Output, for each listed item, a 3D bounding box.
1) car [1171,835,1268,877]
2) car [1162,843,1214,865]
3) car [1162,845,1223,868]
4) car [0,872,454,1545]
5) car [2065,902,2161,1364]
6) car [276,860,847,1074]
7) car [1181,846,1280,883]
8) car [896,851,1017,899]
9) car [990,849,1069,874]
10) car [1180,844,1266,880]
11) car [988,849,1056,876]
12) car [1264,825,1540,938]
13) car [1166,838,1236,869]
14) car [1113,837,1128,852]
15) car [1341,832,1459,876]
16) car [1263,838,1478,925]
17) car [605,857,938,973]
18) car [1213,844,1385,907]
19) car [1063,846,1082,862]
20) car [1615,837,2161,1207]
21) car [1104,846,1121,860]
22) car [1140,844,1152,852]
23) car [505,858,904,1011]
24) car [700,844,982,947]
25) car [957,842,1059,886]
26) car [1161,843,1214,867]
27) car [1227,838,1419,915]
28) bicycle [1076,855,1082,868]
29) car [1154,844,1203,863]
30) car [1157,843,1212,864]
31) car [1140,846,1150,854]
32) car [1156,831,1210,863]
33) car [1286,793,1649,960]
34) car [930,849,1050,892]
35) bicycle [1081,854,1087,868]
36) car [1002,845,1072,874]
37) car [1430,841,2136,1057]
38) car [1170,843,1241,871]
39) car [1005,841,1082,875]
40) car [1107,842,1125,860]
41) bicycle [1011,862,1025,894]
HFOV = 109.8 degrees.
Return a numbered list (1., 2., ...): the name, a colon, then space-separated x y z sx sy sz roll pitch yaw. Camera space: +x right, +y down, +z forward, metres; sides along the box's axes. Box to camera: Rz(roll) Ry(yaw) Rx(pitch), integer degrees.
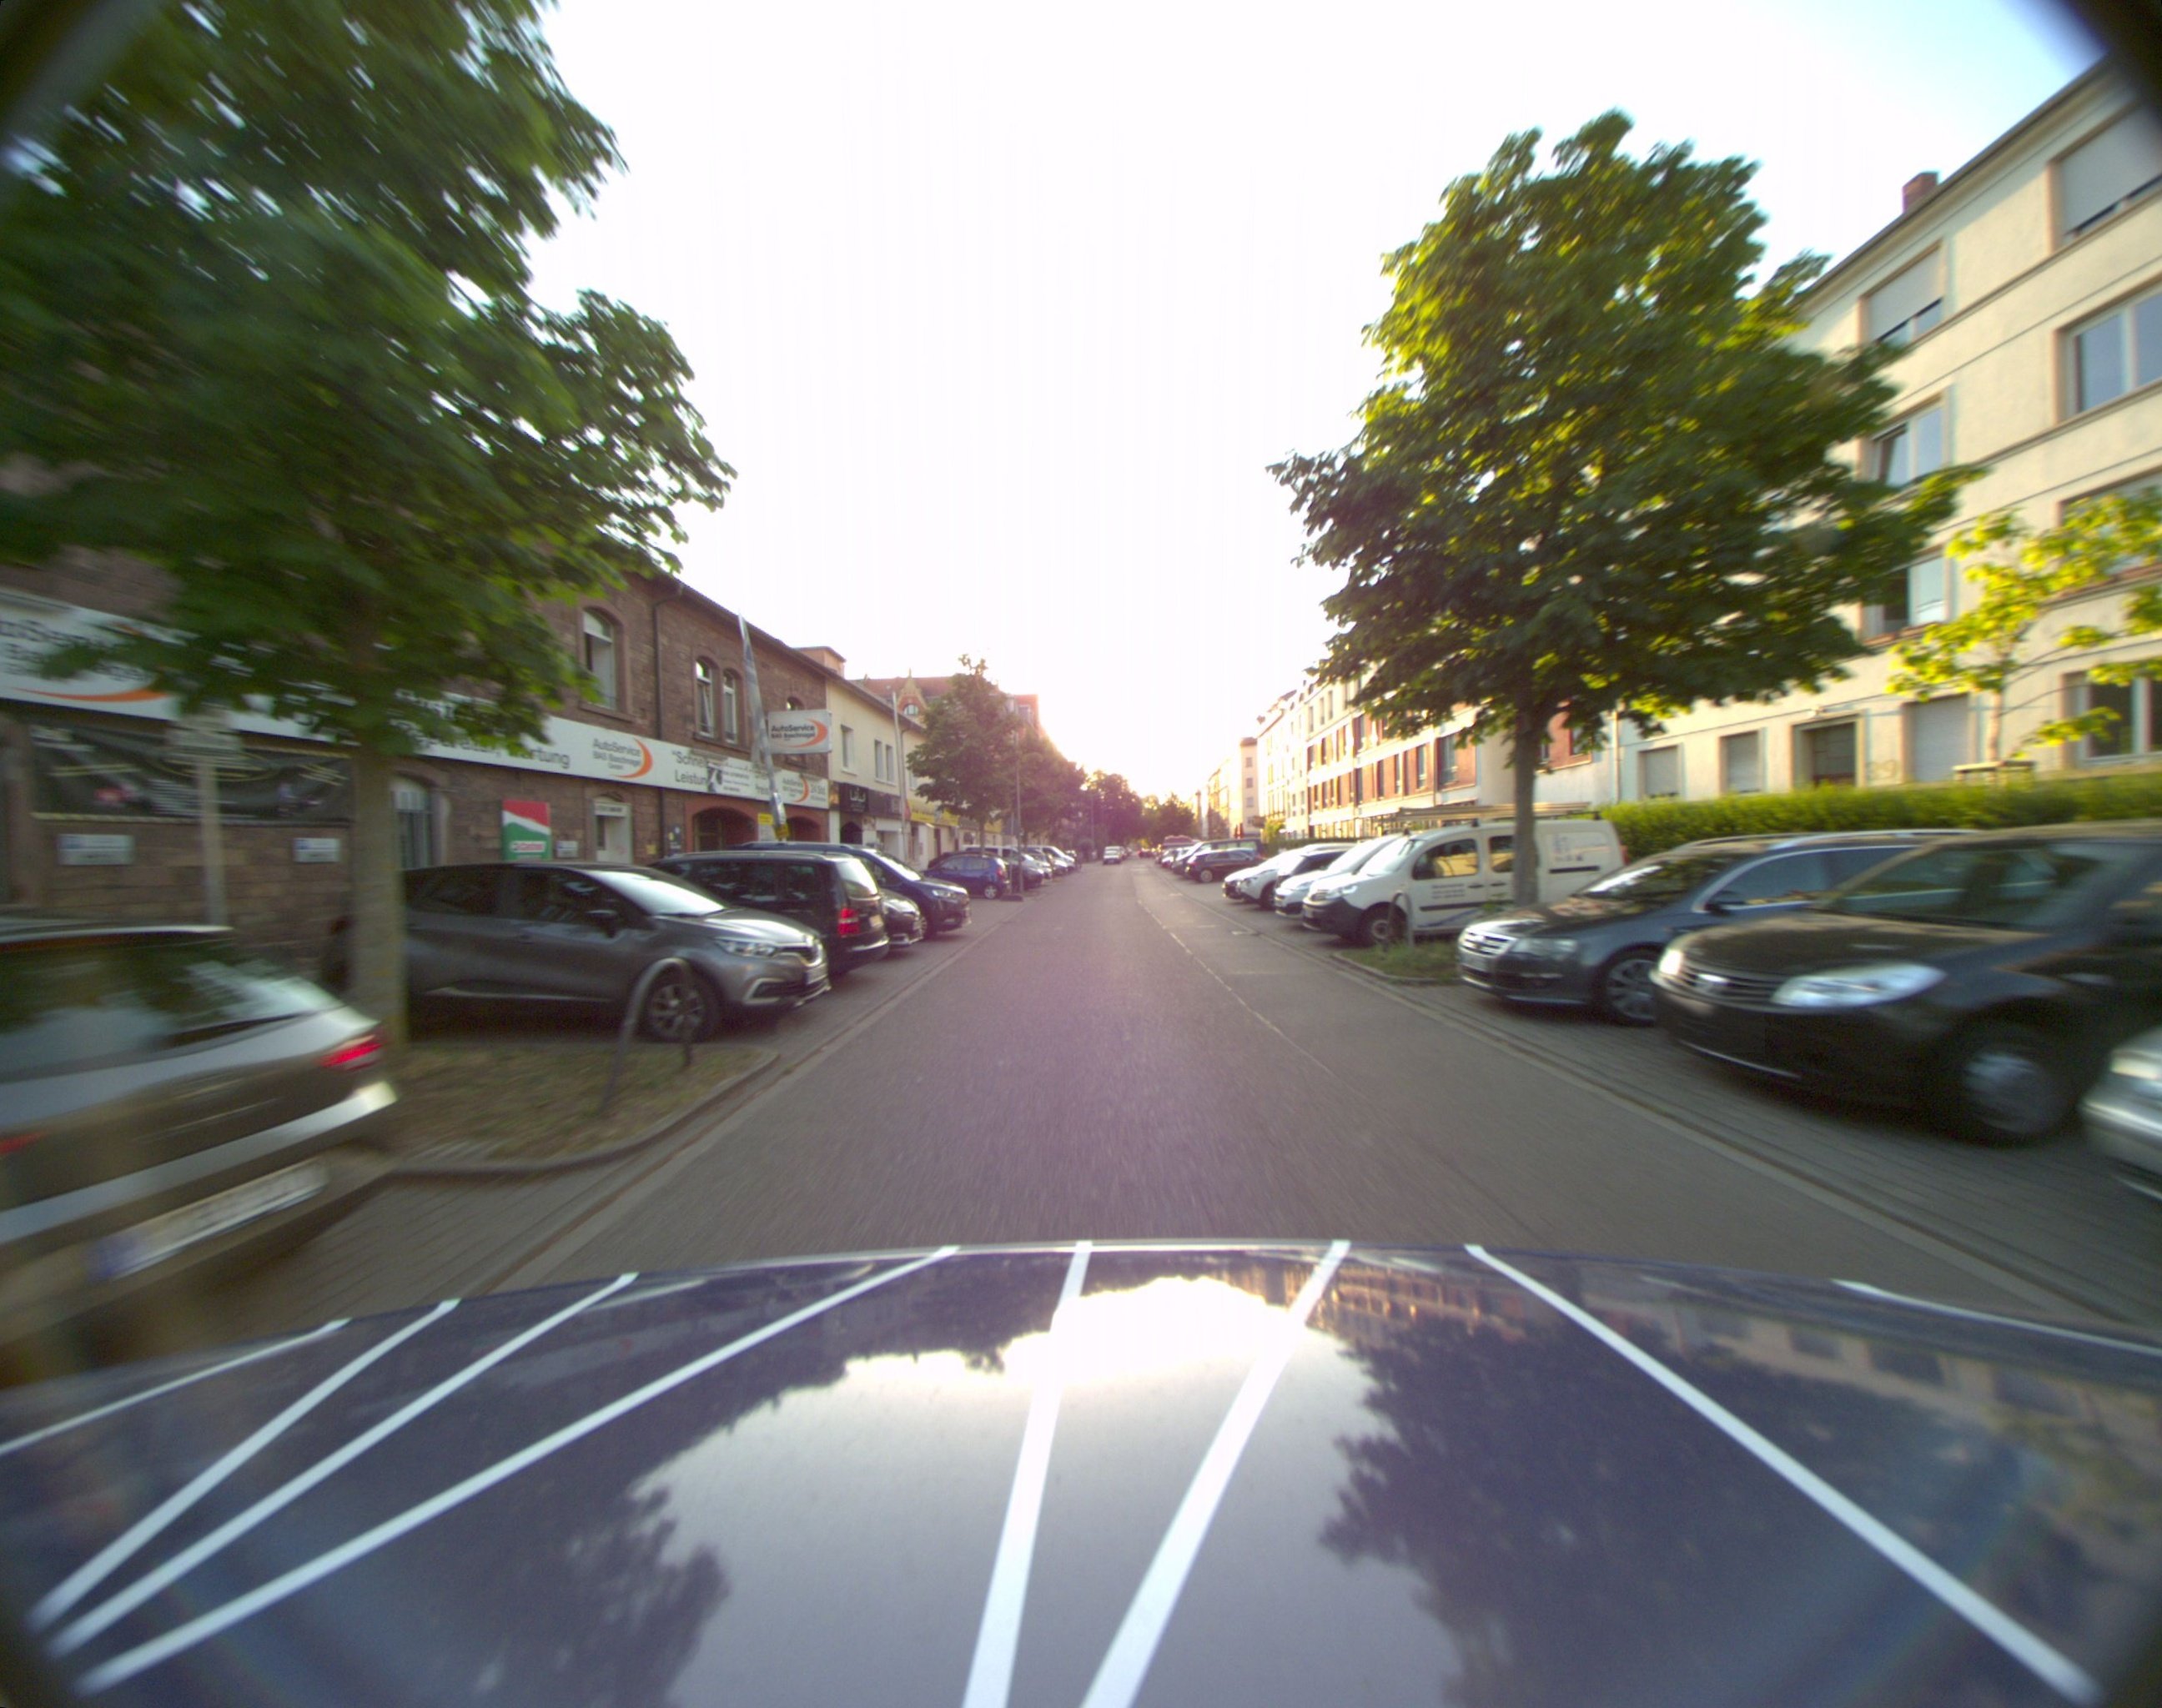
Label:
1. car: 7.252 0.094 40.130 4.865 2.043 2.001 -2 1 5
2. car: 8.455 -0.002 60.198 3.957 1.531 1.756 -3 1 6
3. car: 8.048 0.170 55.066 4.272 1.485 1.789 -2 1 4
4. car: -4.500 0.905 2.113 3.996 1.501 1.776 -2 1 1
5. car: 5.353 0.880 1.781 3.722 1.497 1.690 -2 1 4
6. car: -4.462 0.921 7.015 3.955 1.556 1.820 -2 1 1
7. car: 6.877 0.462 35.182 4.149 1.408 1.738 -4 1 -1
8. car: -4.472 0.739 27.602 3.996 1.537 1.845 2 1 2
9. car: -3.148 0.467 47.150 4.732 1.487 2.000 0 1 2
10. car: 6.944 0.377 37.461 3.893 1.484 1.653 -3 1 0
11. car: -3.454 0.499 44.627 3.794 1.488 1.681 1 1 2
12. car: 5.985 0.499 14.657 4.431 1.791 1.944 -3 1 4
13. car: 7.820 -0.027 49.651 4.188 1.885 1.897 -2 1 -1
14. car: 5.545 -1.383 107.073 1.998 2.002 4.000 -2 1 2
15. car: 13.106 -0.024 31.370 3.998 1.625 1.999 -2 1 -3
16. car: 6.281 0.578 16.820 3.997 1.476 1.755 -5 1 1
17. car: -4.694 0.891 12.032 4.425 1.566 1.981 2 0 1
18. car: 6.267 0.586 22.178 4.419 1.443 1.827 -4 1 1
19. car: -0.887 -0.007 81.376 1.799 1.515 4.000 -2 1 2
20. car: 5.583 0.743 4.187 3.996 1.574 1.729 -2 1 4
21. car: 3.360 -0.072 80.812 1.732 1.367 3.763 -2 1 2
22. car: 11.396 -1.040 133.338 1.762 1.478 3.784 0 1 2
23. car: -4.432 0.906 9.432 3.997 1.609 1.894 1 1 1
24. car: -4.503 0.752 14.801 4.798 1.743 2.017 2 0 1
25. car: -3.531 0.476 37.340 4.597 1.851 2.012 3 2 4
26. car: 8.021 0.074 57.563 3.894 1.608 1.700 -3 1 6
27. car: 6.025 0.550 19.310 4.253 1.611 1.813 -3 0 3
28. bicycle: -0.186 0.571 59.448 0.357 1.018 1.972 -2 1 2
29. car: 8.692 -0.086 67.779 3.988 1.408 1.804 -4 1 -3
30. car: 8.503 -0.063 62.552 4.346 1.516 1.706 -3 1 3
31. car: 13.913 -0.904 165.458 1.890 1.513 4.000 -2 1 4
32. car: 8.760 -0.617 65.321 4.411 2.542 1.932 -2 1 5
33. car: 5.767 0.347 11.905 4.522 2.058 2.001 -5 0 5
34. car: -3.810 0.672 32.227 4.705 1.622 2.000 2 1 4
35. bicycle: 0.229 0.546 59.434 0.357 1.093 1.972 -2 1 2
36. car: -2.855 0.318 50.029 4.300 1.847 2.001 0 1 6
37. car: 5.688 0.726 6.683 4.336 1.397 1.851 -4 1 4
38. car: 7.762 0.173 47.622 3.999 1.580 2.052 -1 1 -5
39. car: -2.579 0.244 52.701 4.970 2.089 2.151 -2 2 7
40. car: 3.945 -0.387 86.546 1.939 1.893 4.055 -2 1 2
41. bicycle: -2.492 0.917 29.993 0.309 1.186 1.762 -2 1 2
